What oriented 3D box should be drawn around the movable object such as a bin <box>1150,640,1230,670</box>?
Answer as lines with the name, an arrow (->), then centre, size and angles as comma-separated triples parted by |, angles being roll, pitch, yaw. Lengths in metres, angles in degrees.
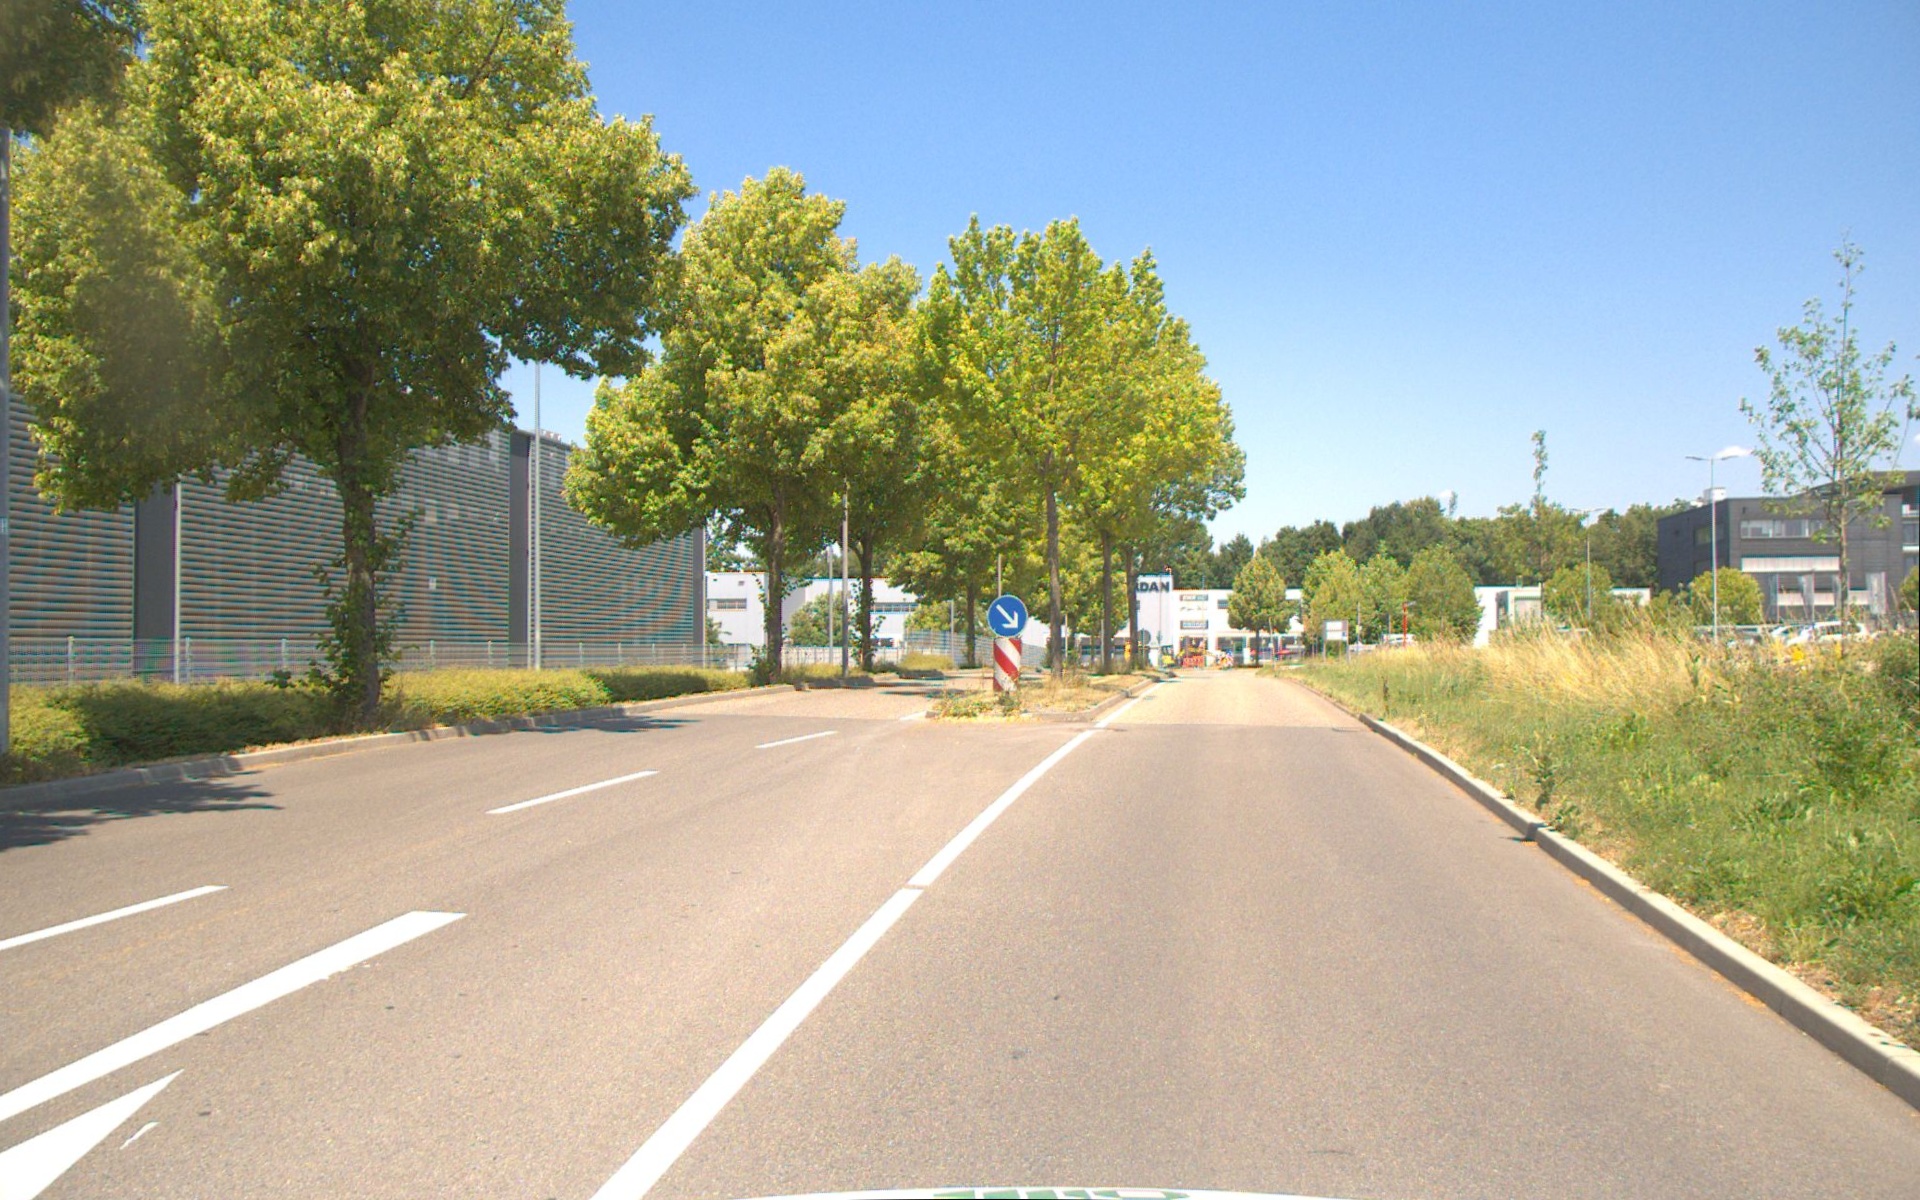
movable object such as a bin -> 22.934, 5.444, 164.653 | 7.367, 2.543, 3.669 | -2, 1, 17

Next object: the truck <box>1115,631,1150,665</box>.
truck -> 17.180, 4.775, 165.128 | 2.878, 2.936, 5.810 | -2, 1, 0
